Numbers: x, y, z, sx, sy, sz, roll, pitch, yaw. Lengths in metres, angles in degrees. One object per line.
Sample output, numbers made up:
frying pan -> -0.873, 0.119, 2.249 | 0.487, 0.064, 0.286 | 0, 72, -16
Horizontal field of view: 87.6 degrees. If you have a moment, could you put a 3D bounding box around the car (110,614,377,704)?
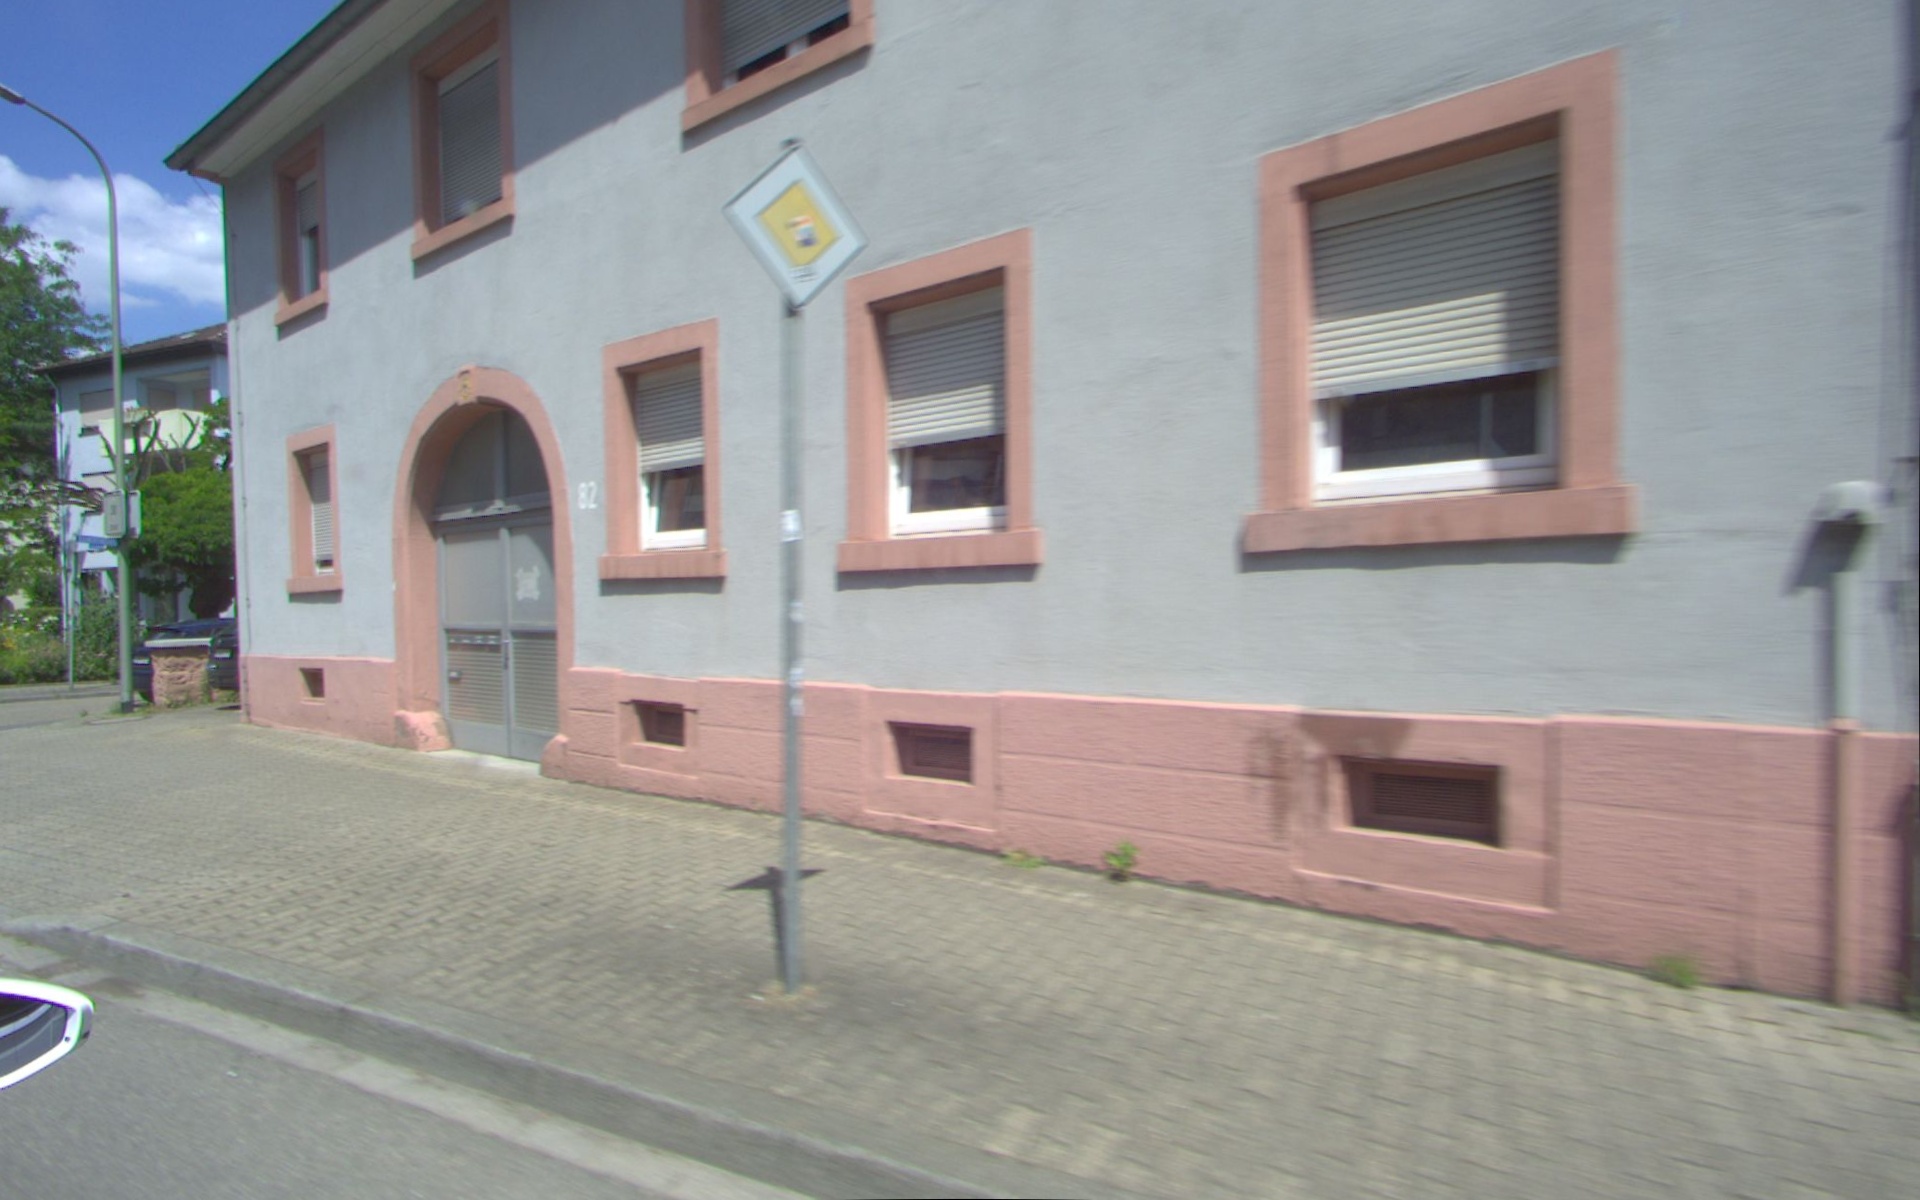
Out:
car -> -12.939, 1.007, 18.296 | 1.715, 1.467, 3.596 | -1, -1, 27

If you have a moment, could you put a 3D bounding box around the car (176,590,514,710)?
car -> -9.661, 0.709, 16.109 | 1.717, 1.550, 4.258 | -2, 1, 31
